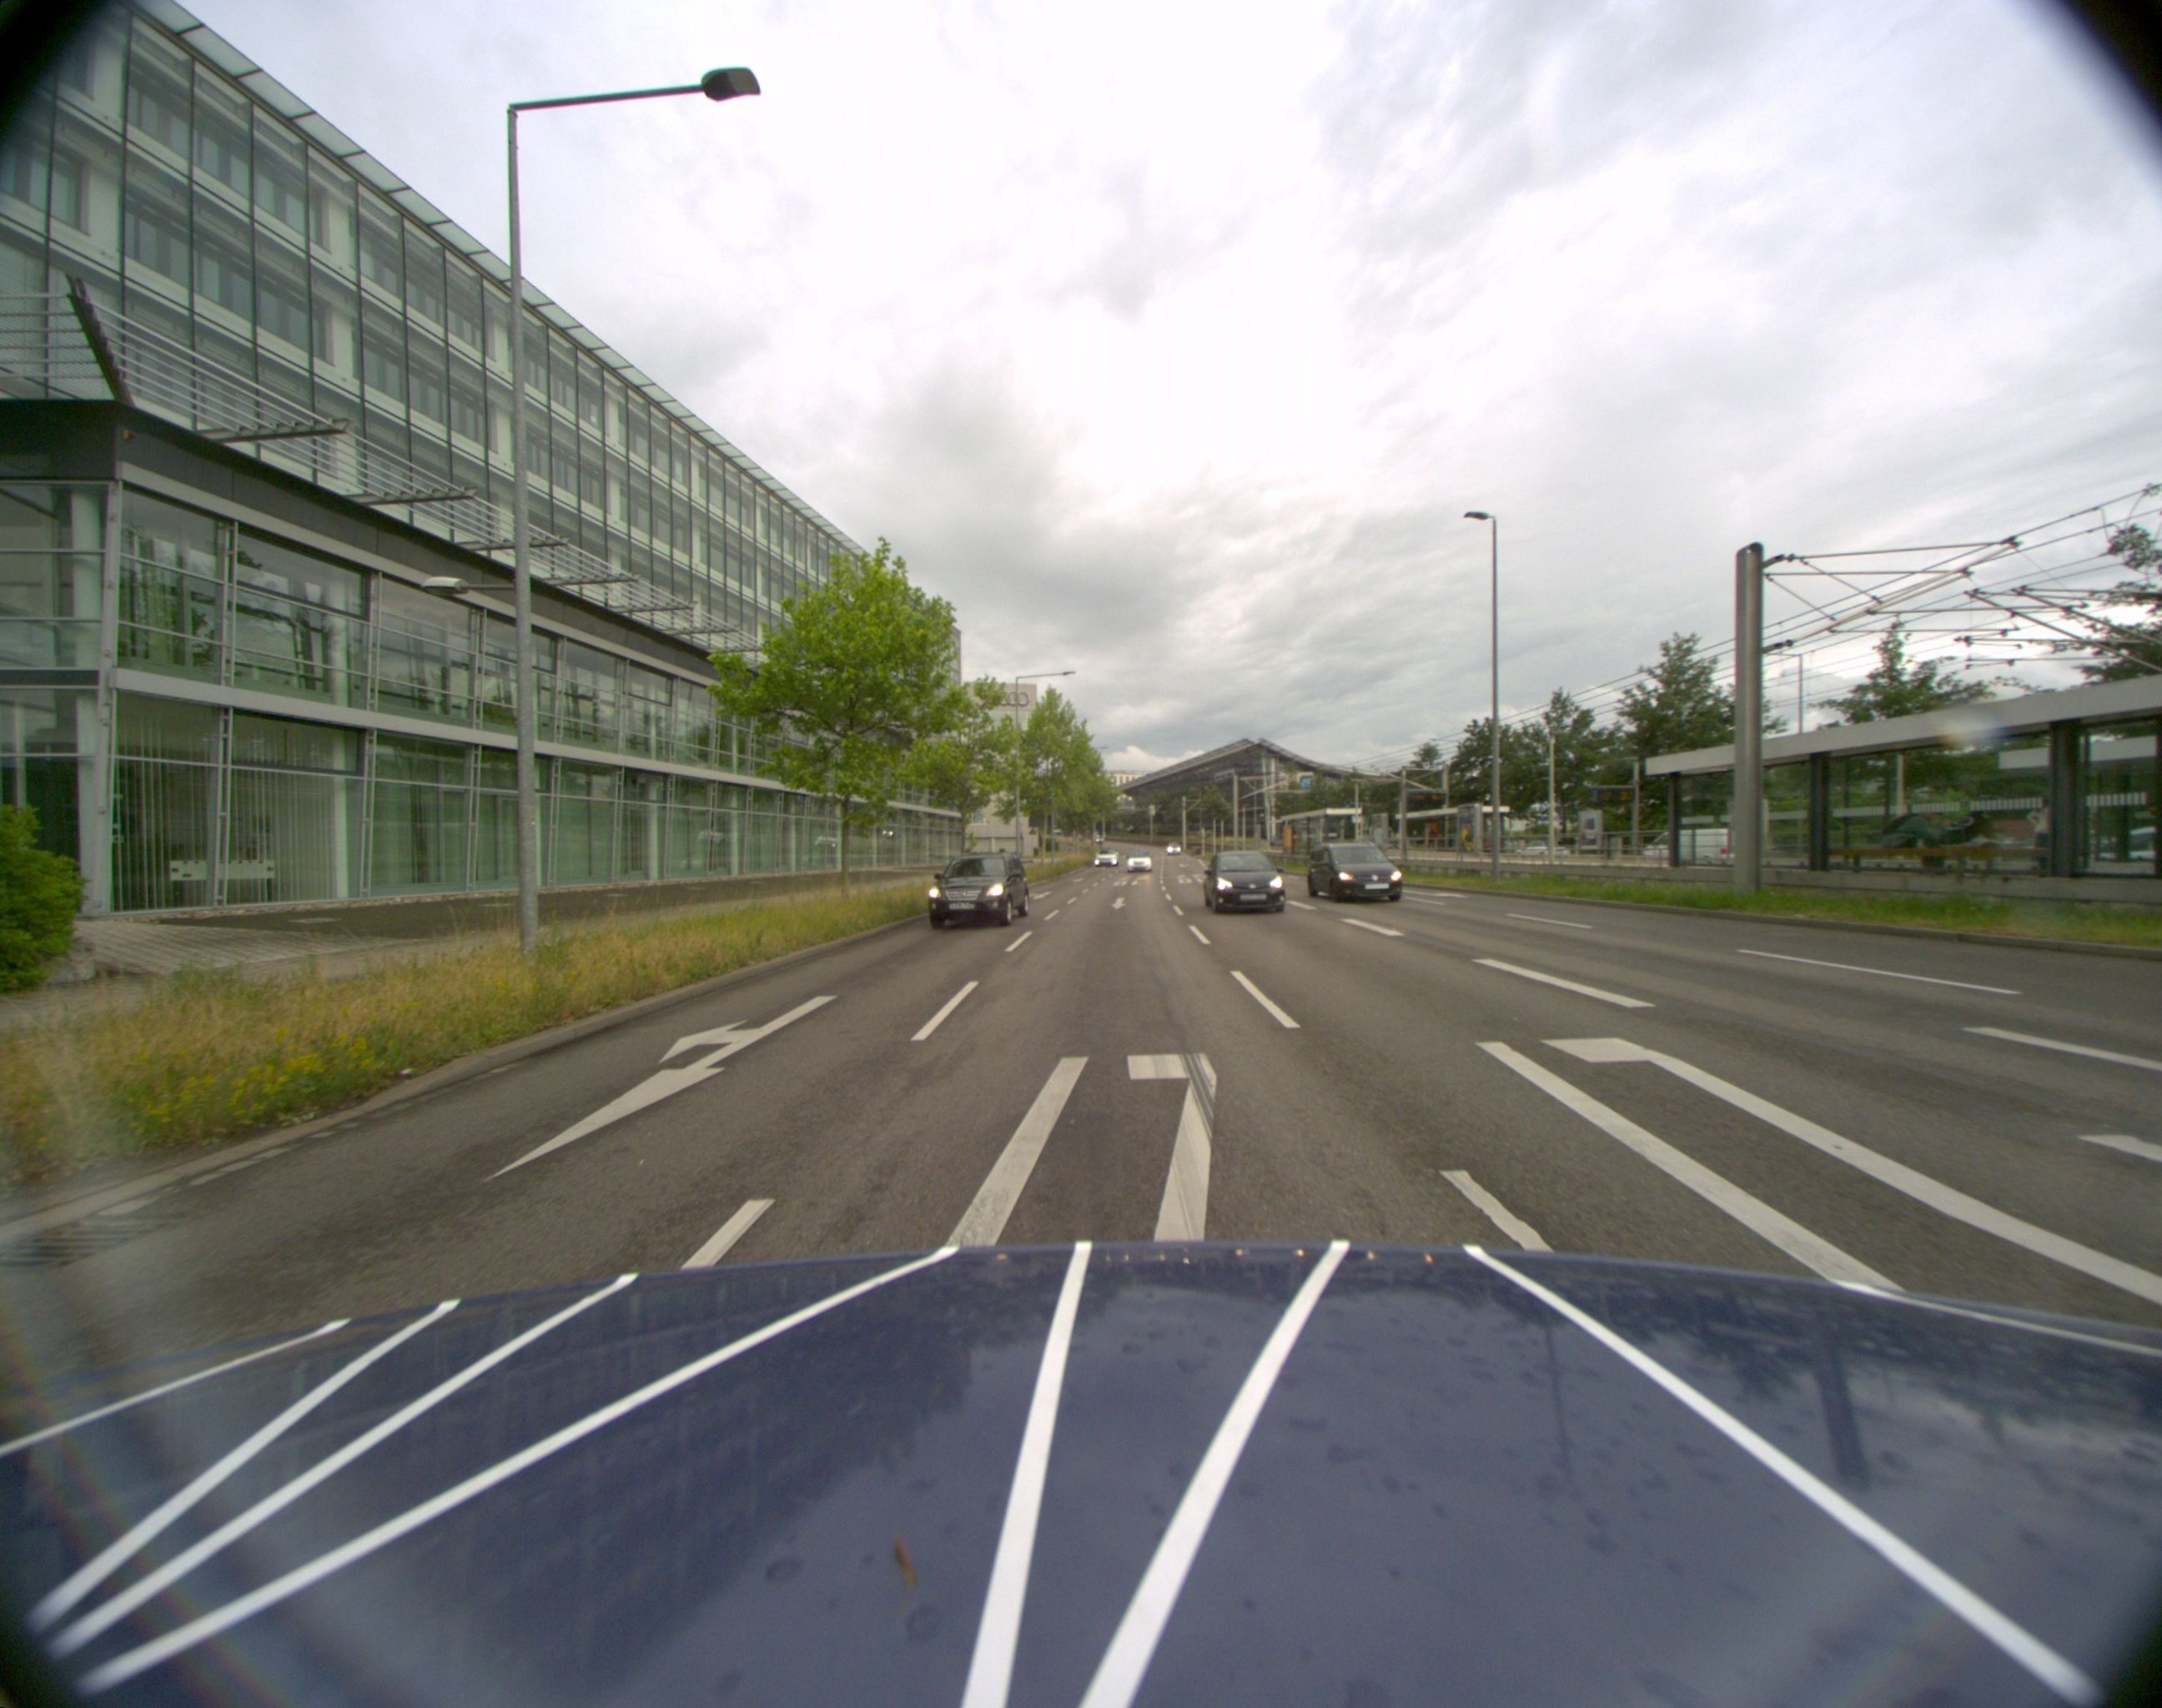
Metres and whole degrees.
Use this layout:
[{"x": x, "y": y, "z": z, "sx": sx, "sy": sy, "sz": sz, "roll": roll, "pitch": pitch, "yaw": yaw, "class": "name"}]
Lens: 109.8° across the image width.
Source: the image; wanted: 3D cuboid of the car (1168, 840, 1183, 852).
[{"x": 11.838, "y": -0.991, "z": 95.301, "sx": 1.739, "sy": 1.470, "sz": 4.001, "roll": -2, "pitch": 1, "yaw": 6, "class": "car"}]

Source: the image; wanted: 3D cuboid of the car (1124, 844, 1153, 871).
[{"x": 4.089, "y": 0.192, "z": 54.534, "sx": 1.805, "sy": 1.713, "sz": 3.999, "roll": -3, "pitch": 2, "yaw": 1, "class": "car"}]

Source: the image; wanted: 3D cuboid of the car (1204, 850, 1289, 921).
[{"x": 4.109, "y": 0.719, "z": 19.377, "sx": 1.696, "sy": 1.514, "sz": 3.906, "roll": -3, "pitch": 1, "yaw": 7, "class": "car"}]

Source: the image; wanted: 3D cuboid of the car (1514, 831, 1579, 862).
[{"x": 31.857, "y": -0.541, "z": 52.129, "sx": 1.998, "sy": 2.002, "sz": 3.999, "roll": -3, "pitch": 2, "yaw": 1, "class": "car"}]

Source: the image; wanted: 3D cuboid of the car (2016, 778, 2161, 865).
[{"x": 28.555, "y": -0.890, "z": 19.848, "sx": 1.998, "sy": 2.202, "sz": 5.143, "roll": -3, "pitch": 2, "yaw": 2, "class": "car"}]

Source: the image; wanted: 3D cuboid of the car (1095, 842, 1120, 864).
[{"x": 2.249, "y": -0.090, "z": 65.595, "sx": 1.998, "sy": 1.669, "sz": 3.821, "roll": -3, "pitch": 2, "yaw": 1, "class": "car"}]

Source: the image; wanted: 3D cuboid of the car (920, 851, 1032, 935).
[{"x": -2.353, "y": 0.821, "z": 18.223, "sx": 1.769, "sy": 1.620, "sz": 4.325, "roll": -3, "pitch": 1, "yaw": 3, "class": "car"}]

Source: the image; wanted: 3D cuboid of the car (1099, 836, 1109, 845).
[{"x": 4.707, "y": -2.811, "z": 158.085, "sx": 1.829, "sy": 1.701, "sz": 4.152, "roll": -3, "pitch": 1, "yaw": -2, "class": "car"}]

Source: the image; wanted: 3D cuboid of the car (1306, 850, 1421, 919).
[{"x": 7.874, "y": 0.770, "z": 21.569, "sx": 1.731, "sy": 1.583, "sz": 4.192, "roll": -3, "pitch": 2, "yaw": 1, "class": "car"}]

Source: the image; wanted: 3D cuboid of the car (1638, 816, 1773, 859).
[{"x": 28.601, "y": -0.765, "z": 35.059, "sx": 1.999, "sy": 1.721, "sz": 5.028, "roll": -3, "pitch": 2, "yaw": -1, "class": "car"}]
